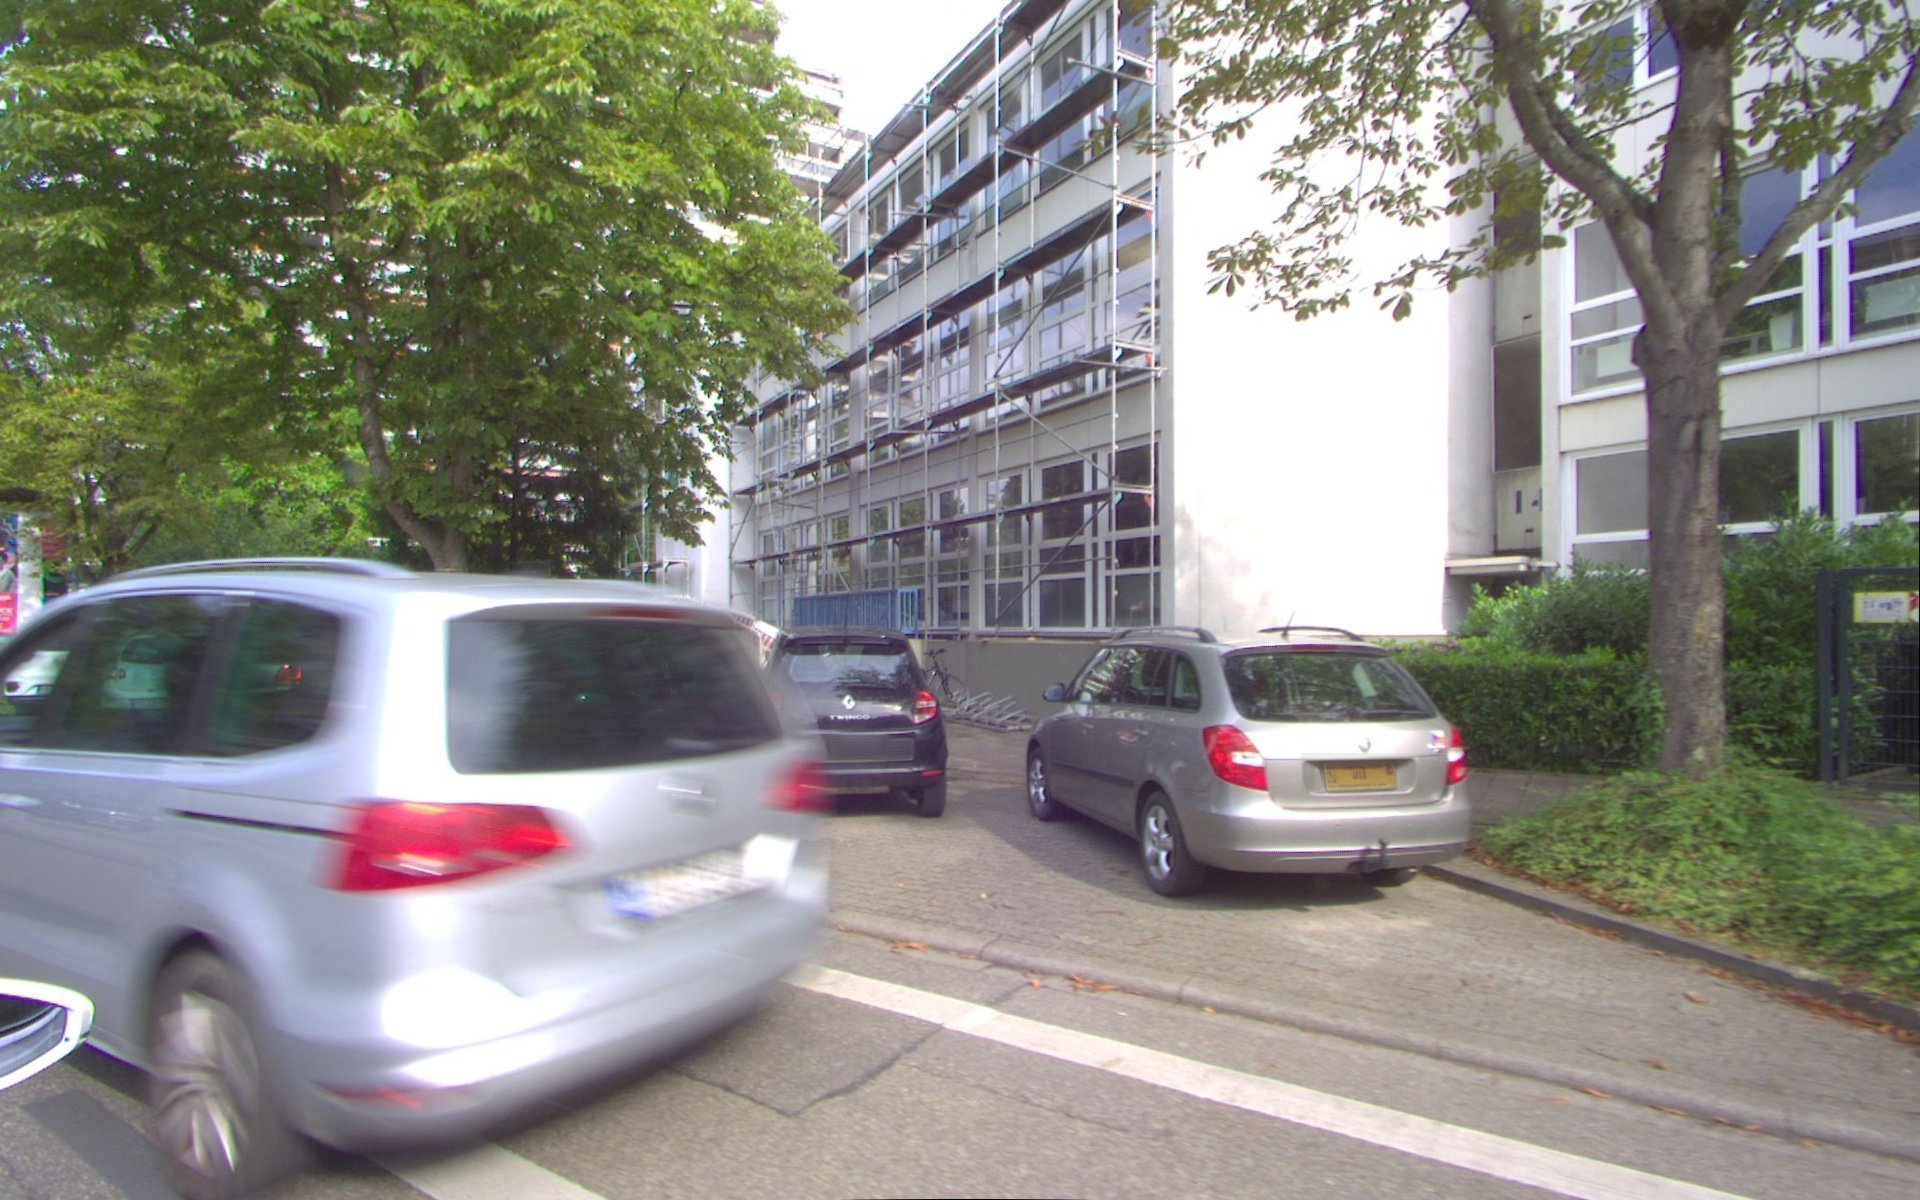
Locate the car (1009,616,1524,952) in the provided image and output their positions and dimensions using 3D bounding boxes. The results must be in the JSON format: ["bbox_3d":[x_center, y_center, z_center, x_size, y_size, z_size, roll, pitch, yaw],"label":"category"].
[{"bbox_3d":[1.615,0.926,6.804,1.566,1.557,4.050,0,-2,-12],"label":"car"}]

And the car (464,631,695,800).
[{"bbox_3d":[-3.851,1.063,10.821,1.783,1.433,4.167,0,-2,-13],"label":"car"}]

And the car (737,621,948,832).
[{"bbox_3d":[-1.160,0.984,9.202,1.566,1.557,3.416,0,-1,-10],"label":"car"}]

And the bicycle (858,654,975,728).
[{"bbox_3d":[-0.665,1.392,15.601,1.813,1.057,0.451,0,0,-28],"label":"bicycle"}]

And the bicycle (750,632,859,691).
[{"bbox_3d":[-2.898,1.138,18.711,1.944,1.057,0.593,1,-1,-20],"label":"bicycle"}]

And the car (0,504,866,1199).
[{"bbox_3d":[-2.765,0.705,4.043,4.547,1.723,1.810,-1,-1,30],"label":"car"}]

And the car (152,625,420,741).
[{"bbox_3d":[-9.398,1.093,14.338,1.650,1.438,3.647,0,-2,-6],"label":"car"}]

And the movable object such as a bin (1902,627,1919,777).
[{"bbox_3d":[9.735,0.975,9.560,1.012,1.425,0.906,1,-1,-36],"label":"movable object such as a bin"}]

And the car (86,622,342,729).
[{"bbox_3d":[-11.723,1.125,16.059,1.650,1.493,3.647,0,-2,-6],"label":"car"}]

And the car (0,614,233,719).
[{"bbox_3d":[-14.569,1.096,17.494,1.651,1.623,3.644,0,-2,-12],"label":"car"}]
